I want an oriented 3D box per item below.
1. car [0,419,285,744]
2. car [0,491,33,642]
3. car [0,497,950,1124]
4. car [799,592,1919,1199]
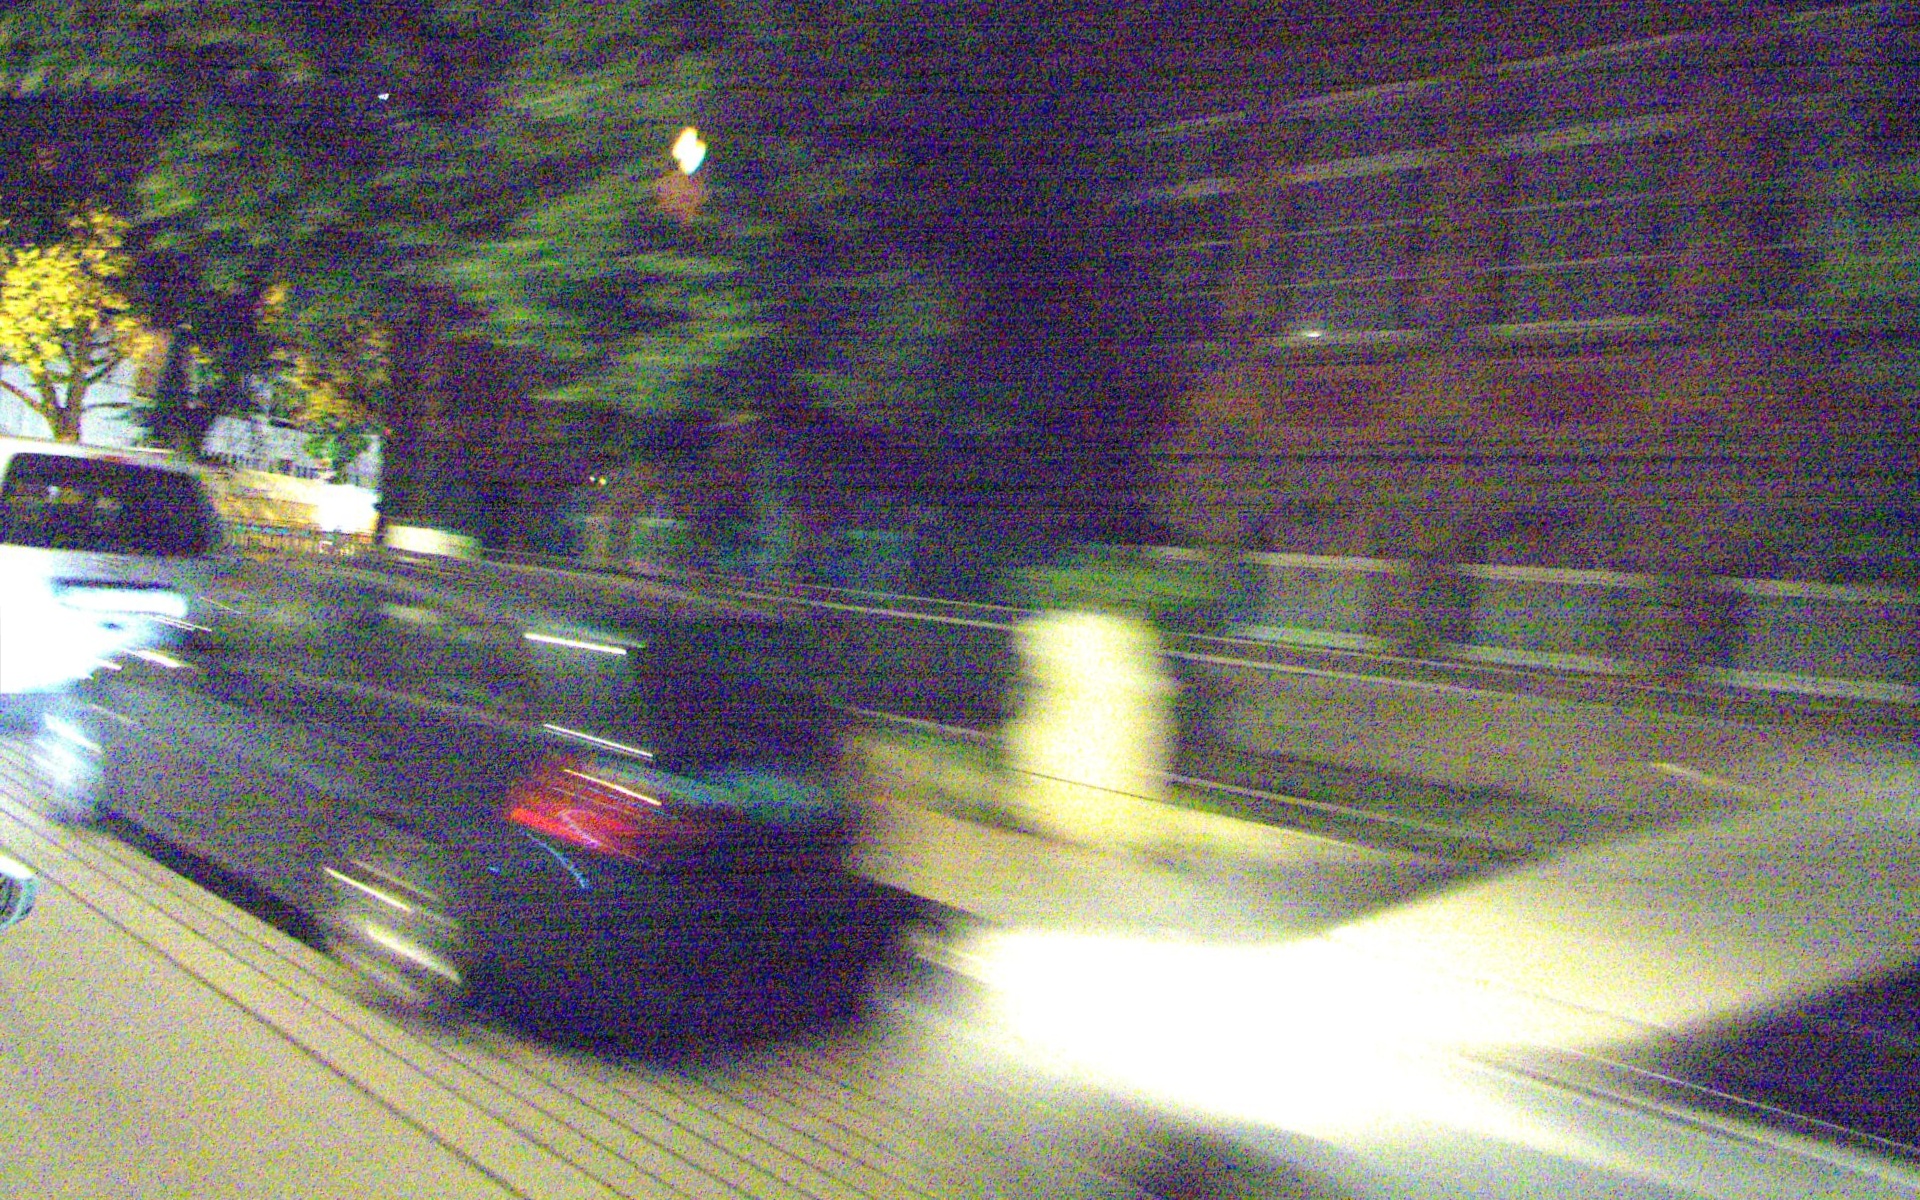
[{"bbox_3d":[-7.068,-0.281,7.385,4.243,1.879,1.737,7,1,30],"label":"car"},{"bbox_3d":[-11.341,-0.570,10.084,4.249,1.437,1.730,7,1,29],"label":"car"},{"bbox_3d":[-2.392,0.476,4.485,4.370,1.439,1.687,7,1,32],"label":"car"},{"bbox_3d":[1.803,0.945,1.876,3.934,1.497,1.739,7,3,32],"label":"car"}]
